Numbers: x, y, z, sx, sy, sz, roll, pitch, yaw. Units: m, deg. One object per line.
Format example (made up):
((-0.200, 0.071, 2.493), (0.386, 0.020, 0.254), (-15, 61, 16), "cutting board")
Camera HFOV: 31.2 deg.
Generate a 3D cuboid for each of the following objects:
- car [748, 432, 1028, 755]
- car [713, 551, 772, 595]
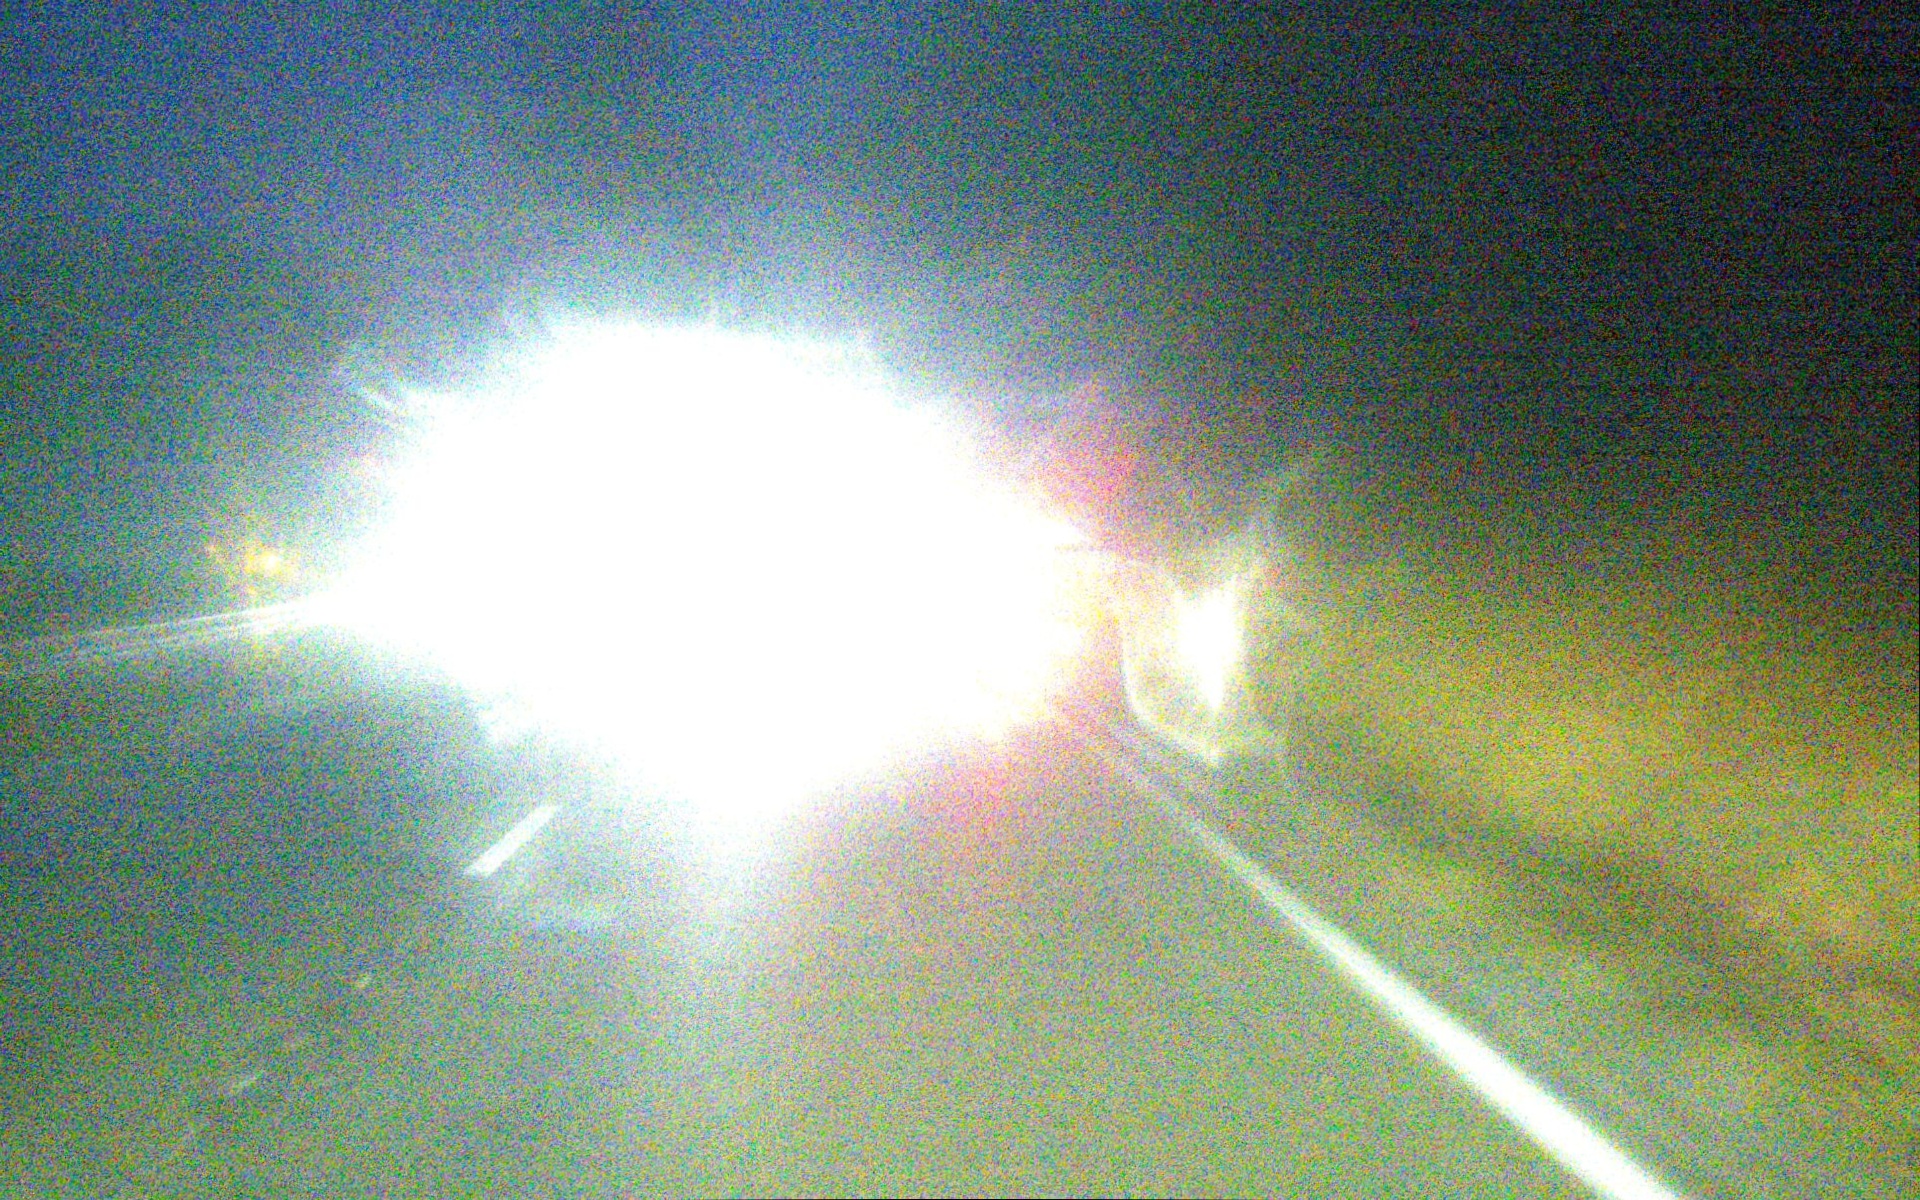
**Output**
((-0.588, -0.151, 30.350), (2.181, 2.548, 4.508), (3, 2, 0), "car")
((-7.666, -0.969, 121.483), (1.974, 1.511, 4.347), (1, 1, -2), "car")
